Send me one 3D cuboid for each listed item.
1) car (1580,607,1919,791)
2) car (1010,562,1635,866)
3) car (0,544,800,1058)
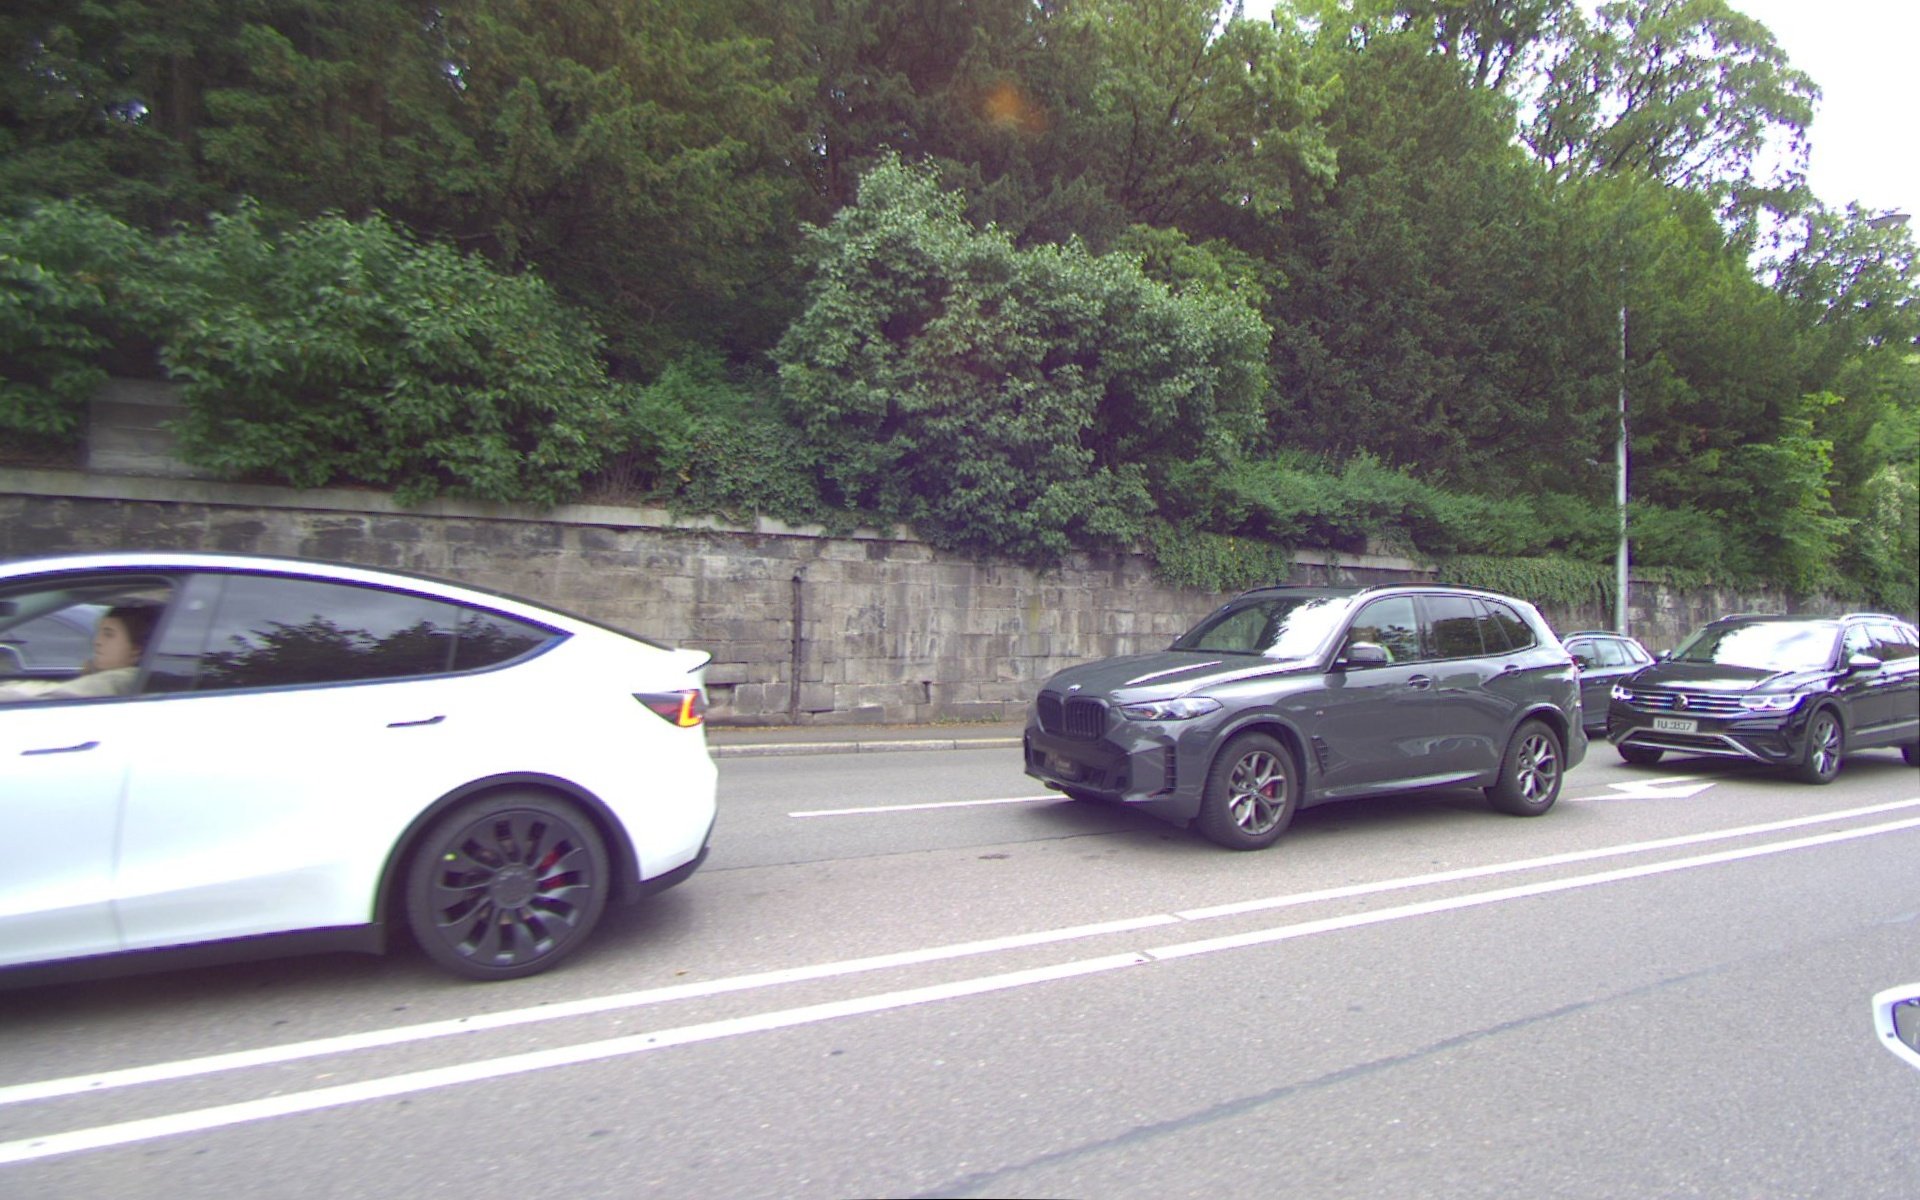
[{"bbox_3d":[9.080,0.991,11.103,4.569,1.673,1.840,2,-3,-30],"label":"car"},{"bbox_3d":[2.949,0.752,7.901,4.818,1.772,1.952,2,-2,-29],"label":"car"},{"bbox_3d":[-3.201,0.623,3.977,4.731,1.575,1.829,2,-1,-29],"label":"car"}]
